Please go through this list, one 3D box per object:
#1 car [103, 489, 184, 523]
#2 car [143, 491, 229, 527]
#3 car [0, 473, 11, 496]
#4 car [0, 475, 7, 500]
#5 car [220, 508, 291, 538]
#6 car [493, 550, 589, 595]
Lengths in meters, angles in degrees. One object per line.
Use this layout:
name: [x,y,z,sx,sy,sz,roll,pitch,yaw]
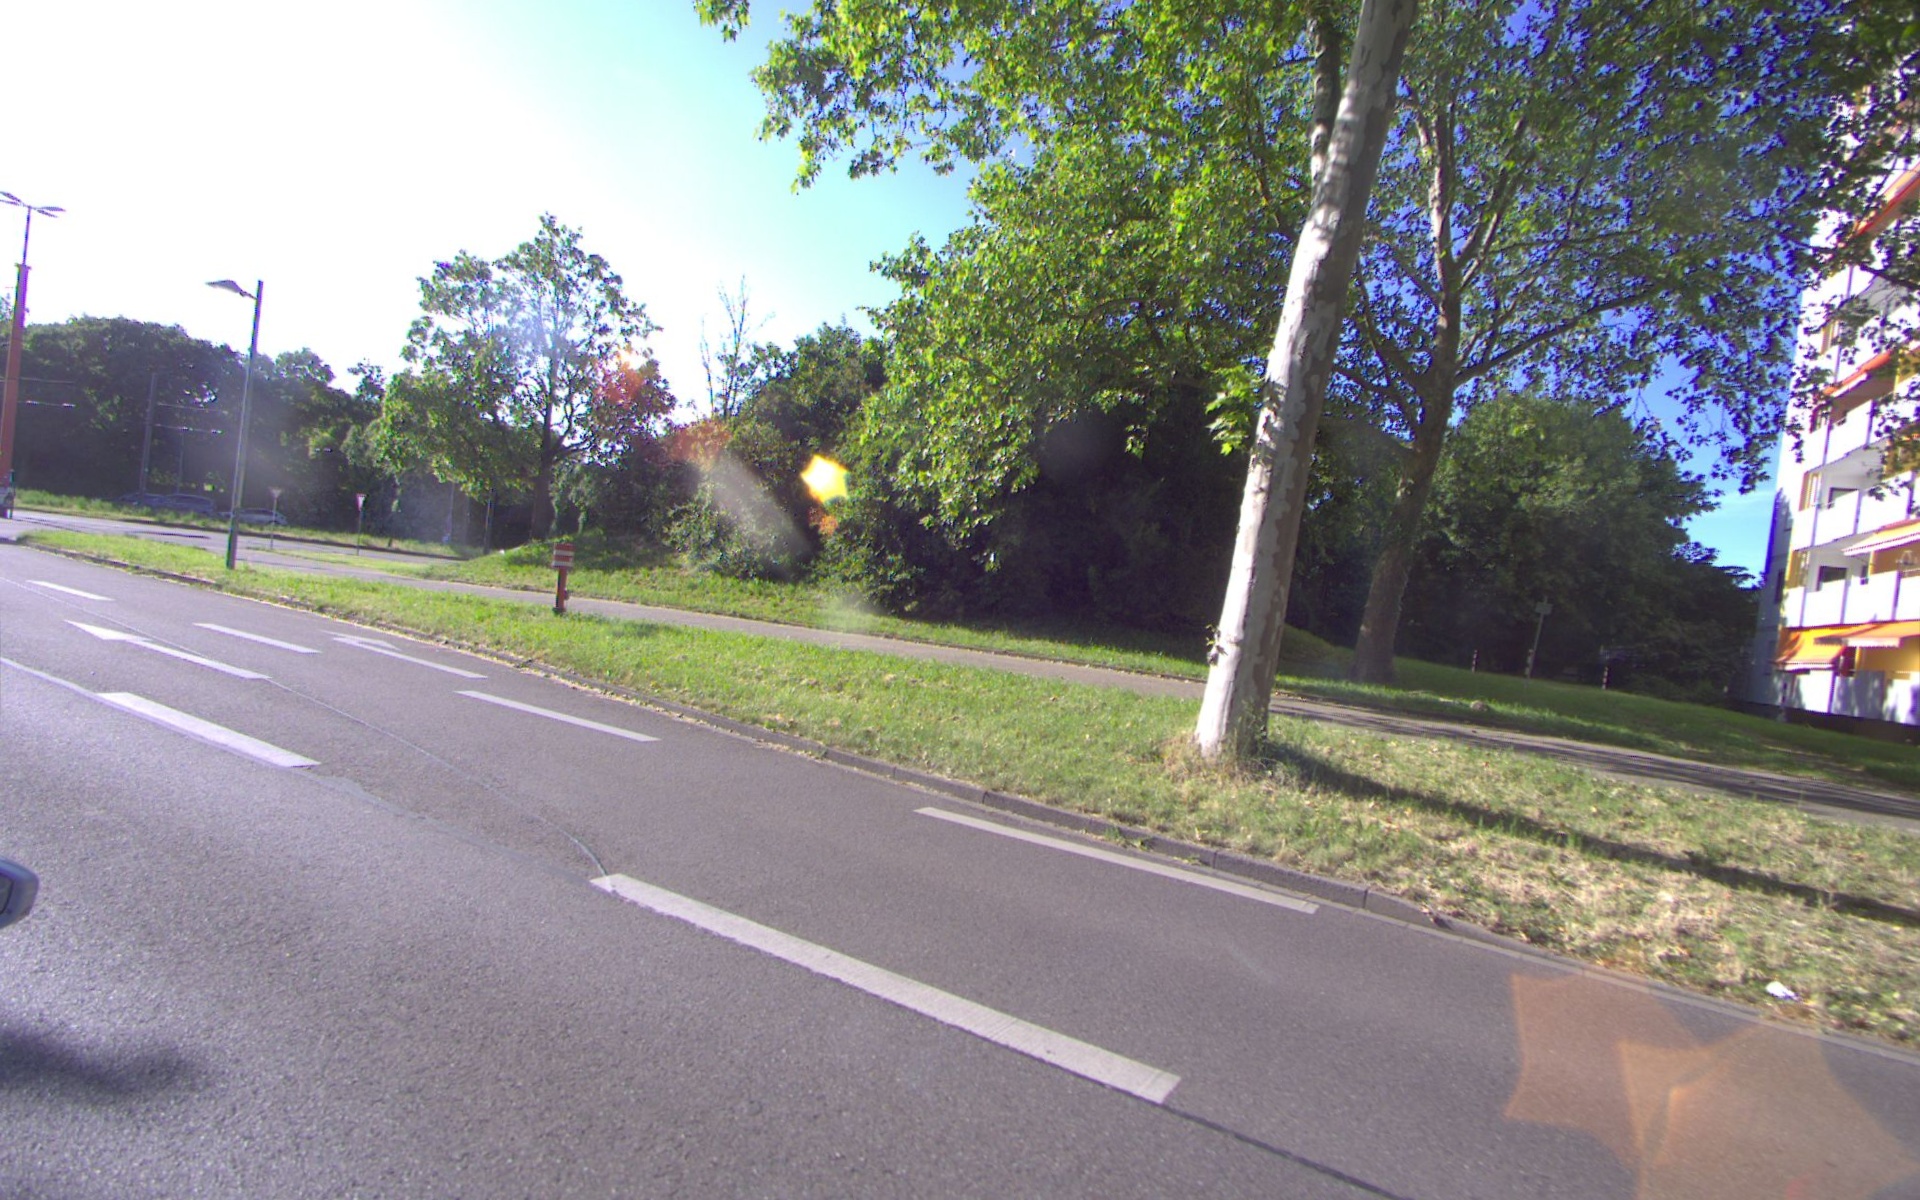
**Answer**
car: [-55.633,-6.376,68.610,3.963,1.579,1.883,8,-1,-34]
car: [-51.752,-6.058,67.391,4.327,1.577,1.855,8,-1,-35]
car: [-60.877,-7.391,61.419,3.963,1.353,1.714,8,-1,-34]
car: [-63.383,-7.497,63.765,3.964,1.493,1.773,8,-1,-35]
car: [-50.361,-5.483,72.003,3.962,1.513,1.845,8,-1,-33]
car: [-23.775,-1.556,57.171,4.574,1.813,1.969,9,-1,-35]
